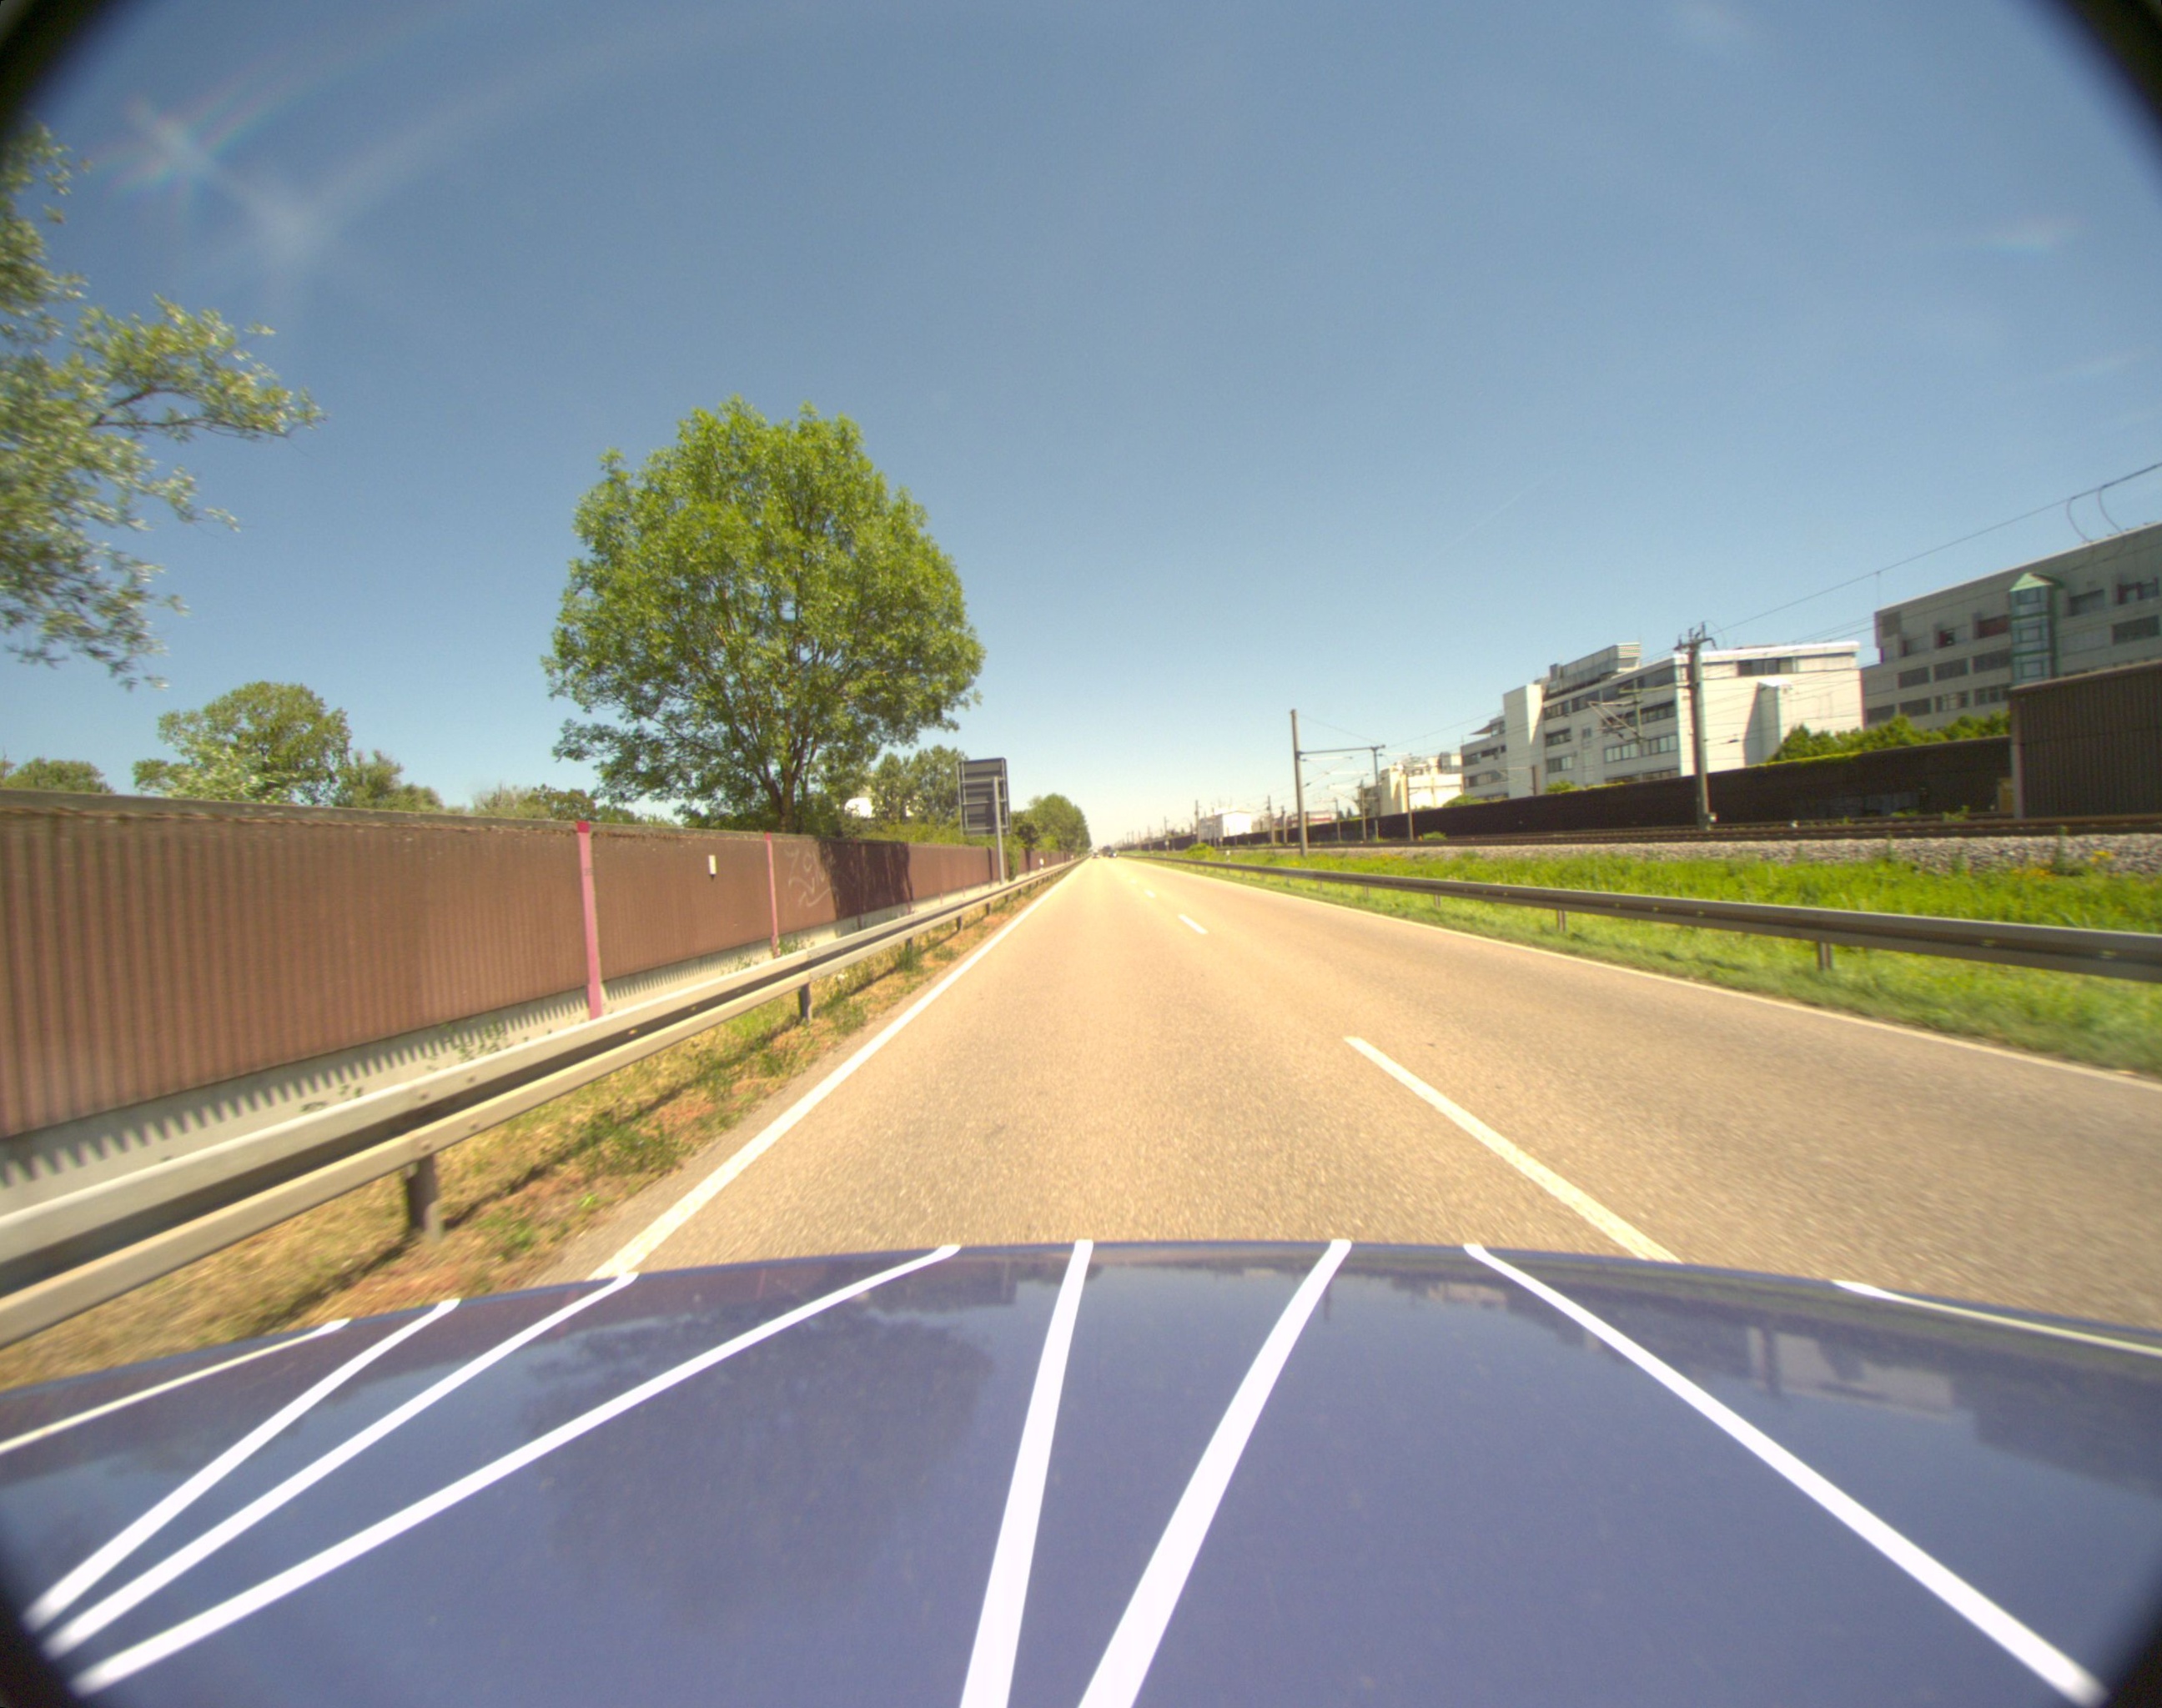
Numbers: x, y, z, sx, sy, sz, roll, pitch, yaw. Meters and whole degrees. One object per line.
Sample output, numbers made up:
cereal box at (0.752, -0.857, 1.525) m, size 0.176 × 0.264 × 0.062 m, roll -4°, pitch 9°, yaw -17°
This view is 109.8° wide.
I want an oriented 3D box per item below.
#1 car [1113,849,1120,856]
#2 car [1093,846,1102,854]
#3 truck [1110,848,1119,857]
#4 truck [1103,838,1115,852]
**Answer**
car at (8.845, -0.359, 189.496) m, size 1.803 × 1.455 × 4.000 m, roll -3°, pitch 1°, yaw 2°
car at (4.165, -0.950, 192.237) m, size 1.998 × 2.002 × 4.001 m, roll -3°, pitch 1°, yaw 4°
truck at (9.498, -0.440, 218.785) m, size 2.389 × 2.255 × 6.237 m, roll -3°, pitch 1°, yaw 2°
truck at (9.240, -2.849, 252.782) m, size 3.054 × 4.449 × 10.586 m, roll -3°, pitch 1°, yaw -1°
